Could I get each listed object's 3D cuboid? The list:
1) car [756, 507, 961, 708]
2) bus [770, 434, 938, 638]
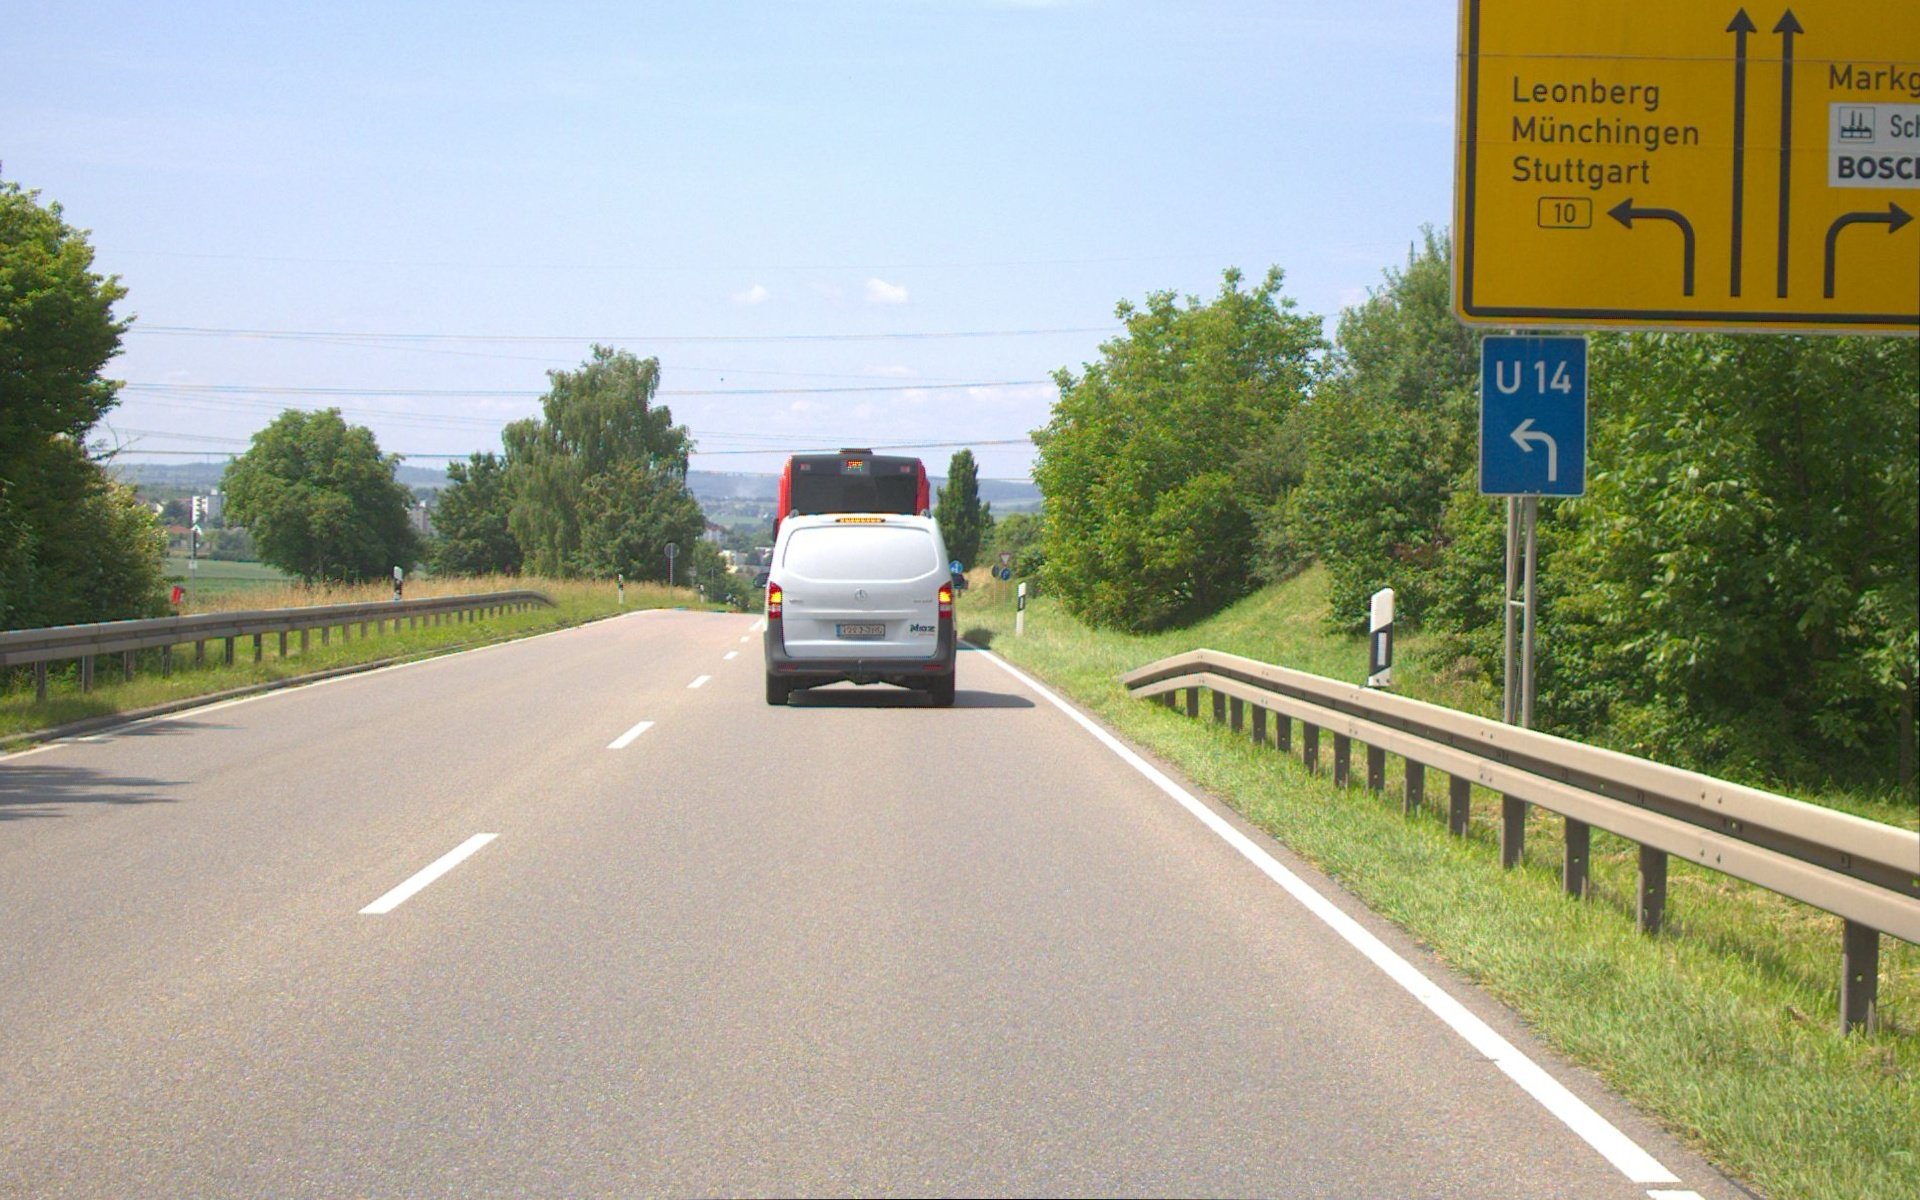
[{"bbox_3d":[-1.022,0.018,34.938,1.923,1.883,4.001,1,2,-1],"label":"car"},{"bbox_3d":[-1.975,-1.224,63.000,2.747,3.342,13.223,0,2,-2],"label":"bus"}]
